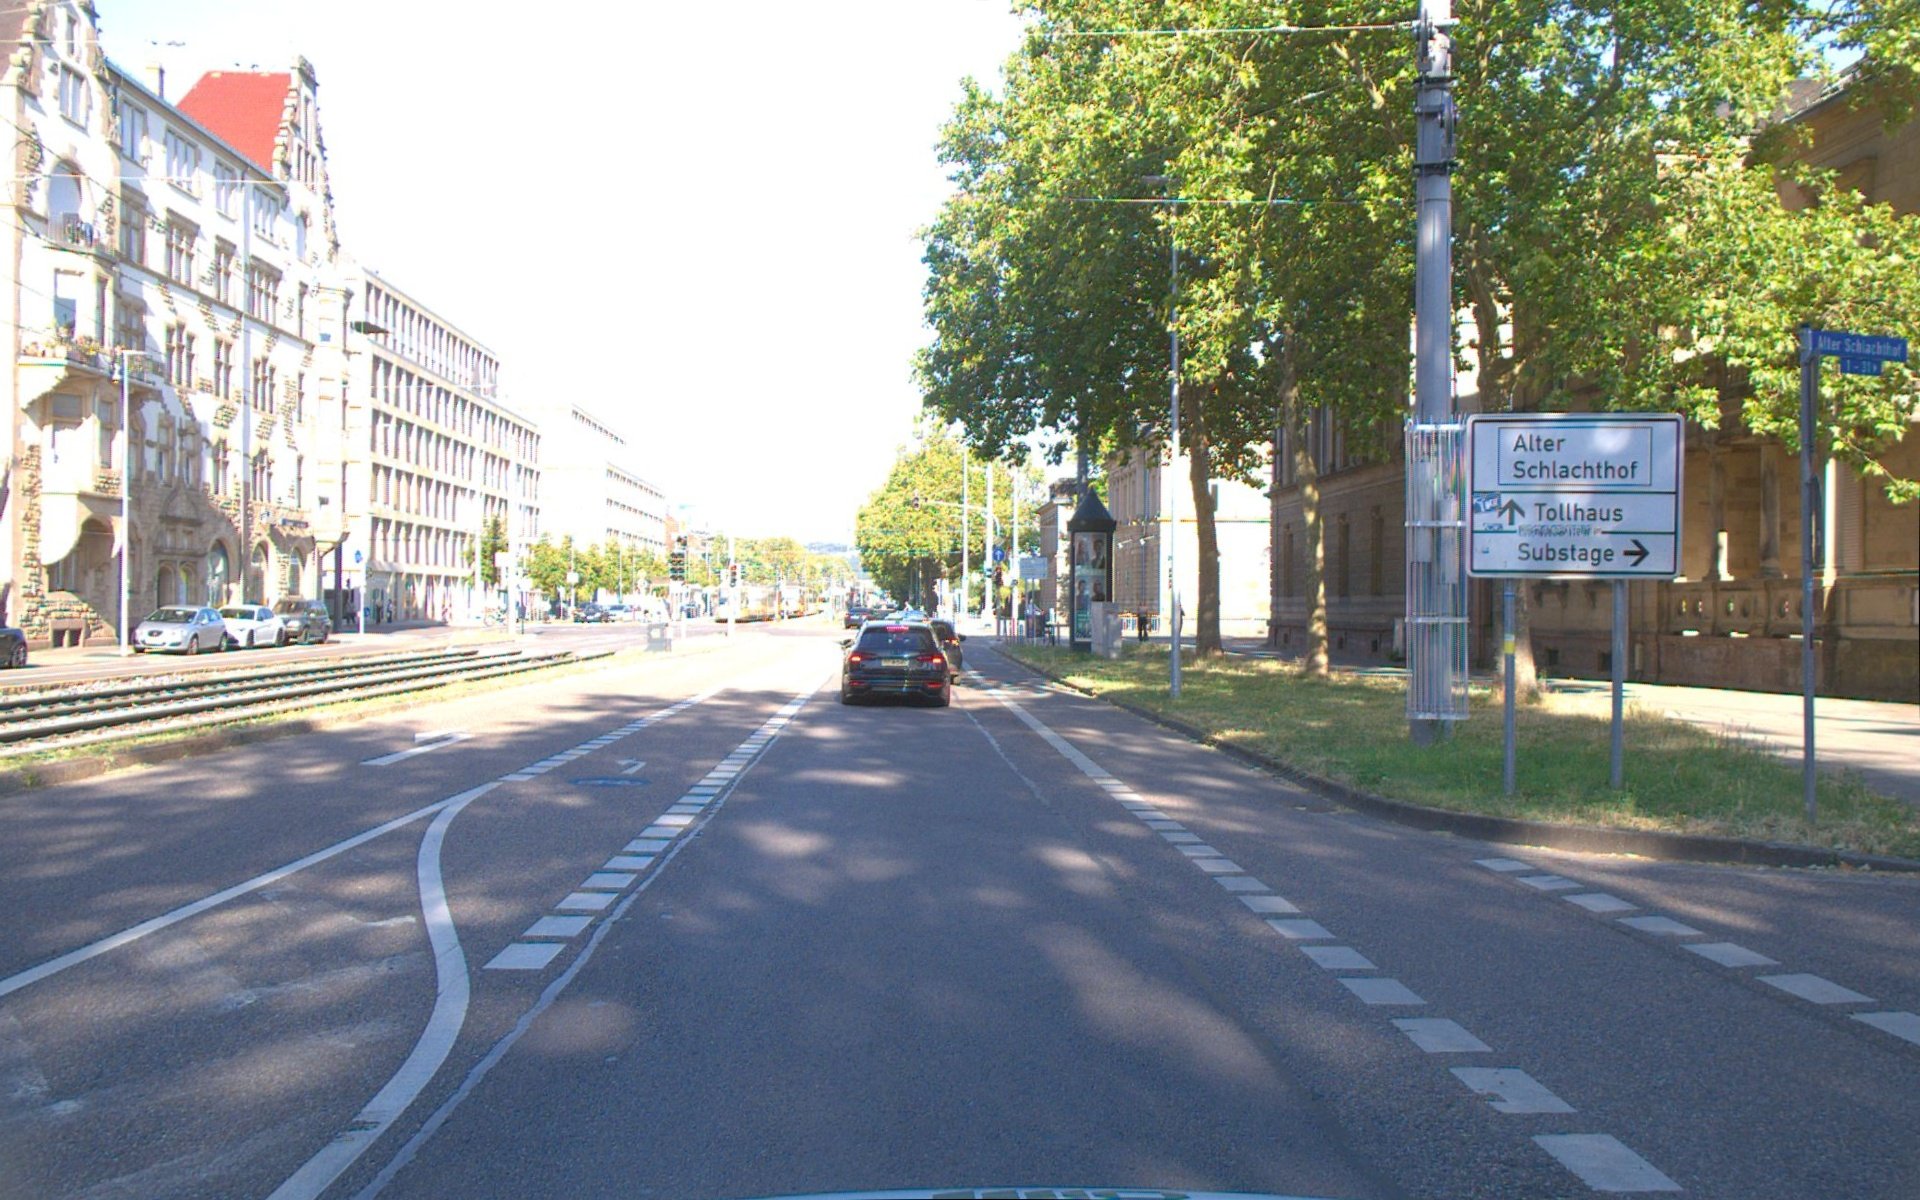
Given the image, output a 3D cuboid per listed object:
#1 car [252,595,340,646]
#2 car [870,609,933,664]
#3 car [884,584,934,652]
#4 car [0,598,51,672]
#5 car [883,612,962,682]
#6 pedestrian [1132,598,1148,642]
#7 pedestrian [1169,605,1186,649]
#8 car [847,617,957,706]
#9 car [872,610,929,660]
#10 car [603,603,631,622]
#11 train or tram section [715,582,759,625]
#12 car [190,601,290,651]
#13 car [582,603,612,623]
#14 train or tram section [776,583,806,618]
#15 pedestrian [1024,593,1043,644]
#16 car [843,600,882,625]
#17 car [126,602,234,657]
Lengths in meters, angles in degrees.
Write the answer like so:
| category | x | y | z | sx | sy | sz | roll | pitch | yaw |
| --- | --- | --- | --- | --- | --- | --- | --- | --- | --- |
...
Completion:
| category | x | y | z | sx | sy | sz | roll | pitch | yaw |
| --- | --- | --- | --- | --- | --- | --- | --- | --- | --- |
| car | -24.942 | 0.759 | 62.289 | 1.759 | 1.749 | 4.182 | 3 | 0 | -4 |
| car | -1.702 | 1.025 | 48.198 | 1.758 | 1.537 | 3.998 | 0 | 0 | -2 |
| car | -1.840 | 0.642 | 59.863 | 1.758 | 2.352 | 3.998 | 0 | 0 | -2 |
| car | -23.422 | 0.818 | 39.048 | 1.653 | 1.681 | 4.197 | 3 | 0 | -3 |
| car | -0.898 | 1.069 | 38.815 | 1.758 | 1.537 | 3.998 | 0 | 0 | -2 |
| pedestrian | 7.301 | 0.793 | 67.016 | 0.575 | 1.758 | 0.650 | 2 | 0 | 10 |
| pedestrian | 8.791 | 1.075 | 66.889 | 0.575 | 1.758 | 0.650 | 2 | 0 | 12 |
| car | -1.067 | 1.034 | 29.350 | 1.797 | 1.415 | 4.156 | 1 | 0 | -3 |
| car | -1.918 | 1.103 | 53.597 | 1.758 | 1.537 | 3.998 | 0 | 0 | -2 |
| car | -28.031 | 0.996 | 135.362 | 1.759 | 1.537 | 3.996 | 0 | 0 | -5 |
| train or tram section | -18.693 | 0.294 | 139.077 | 2.768 | 3.511 | 9.059 | 0 | 0 | -2 |
| car | -24.634 | 0.863 | 56.730 | 1.759 | 1.536 | 4.182 | 3 | 0 | -4 |
| car | -28.225 | 0.973 | 128.563 | 1.759 | 1.537 | 3.996 | 0 | 0 | -5 |
| train or tram section | -17.401 | 0.074 | 170.756 | 2.769 | 3.511 | 9.056 | 0 | 0 | -4 |
| pedestrian | 2.603 | 0.643 | 58.526 | 0.575 | 1.758 | 0.650 | 2 | 0 | 10 |
| car | -6.460 | 0.862 | 109.712 | 1.756 | 1.537 | 4.003 | 2 | -1 | 8 |
| car | -24.109 | 0.875 | 51.266 | 1.760 | 1.536 | 3.994 | 3 | 0 | -7 |
